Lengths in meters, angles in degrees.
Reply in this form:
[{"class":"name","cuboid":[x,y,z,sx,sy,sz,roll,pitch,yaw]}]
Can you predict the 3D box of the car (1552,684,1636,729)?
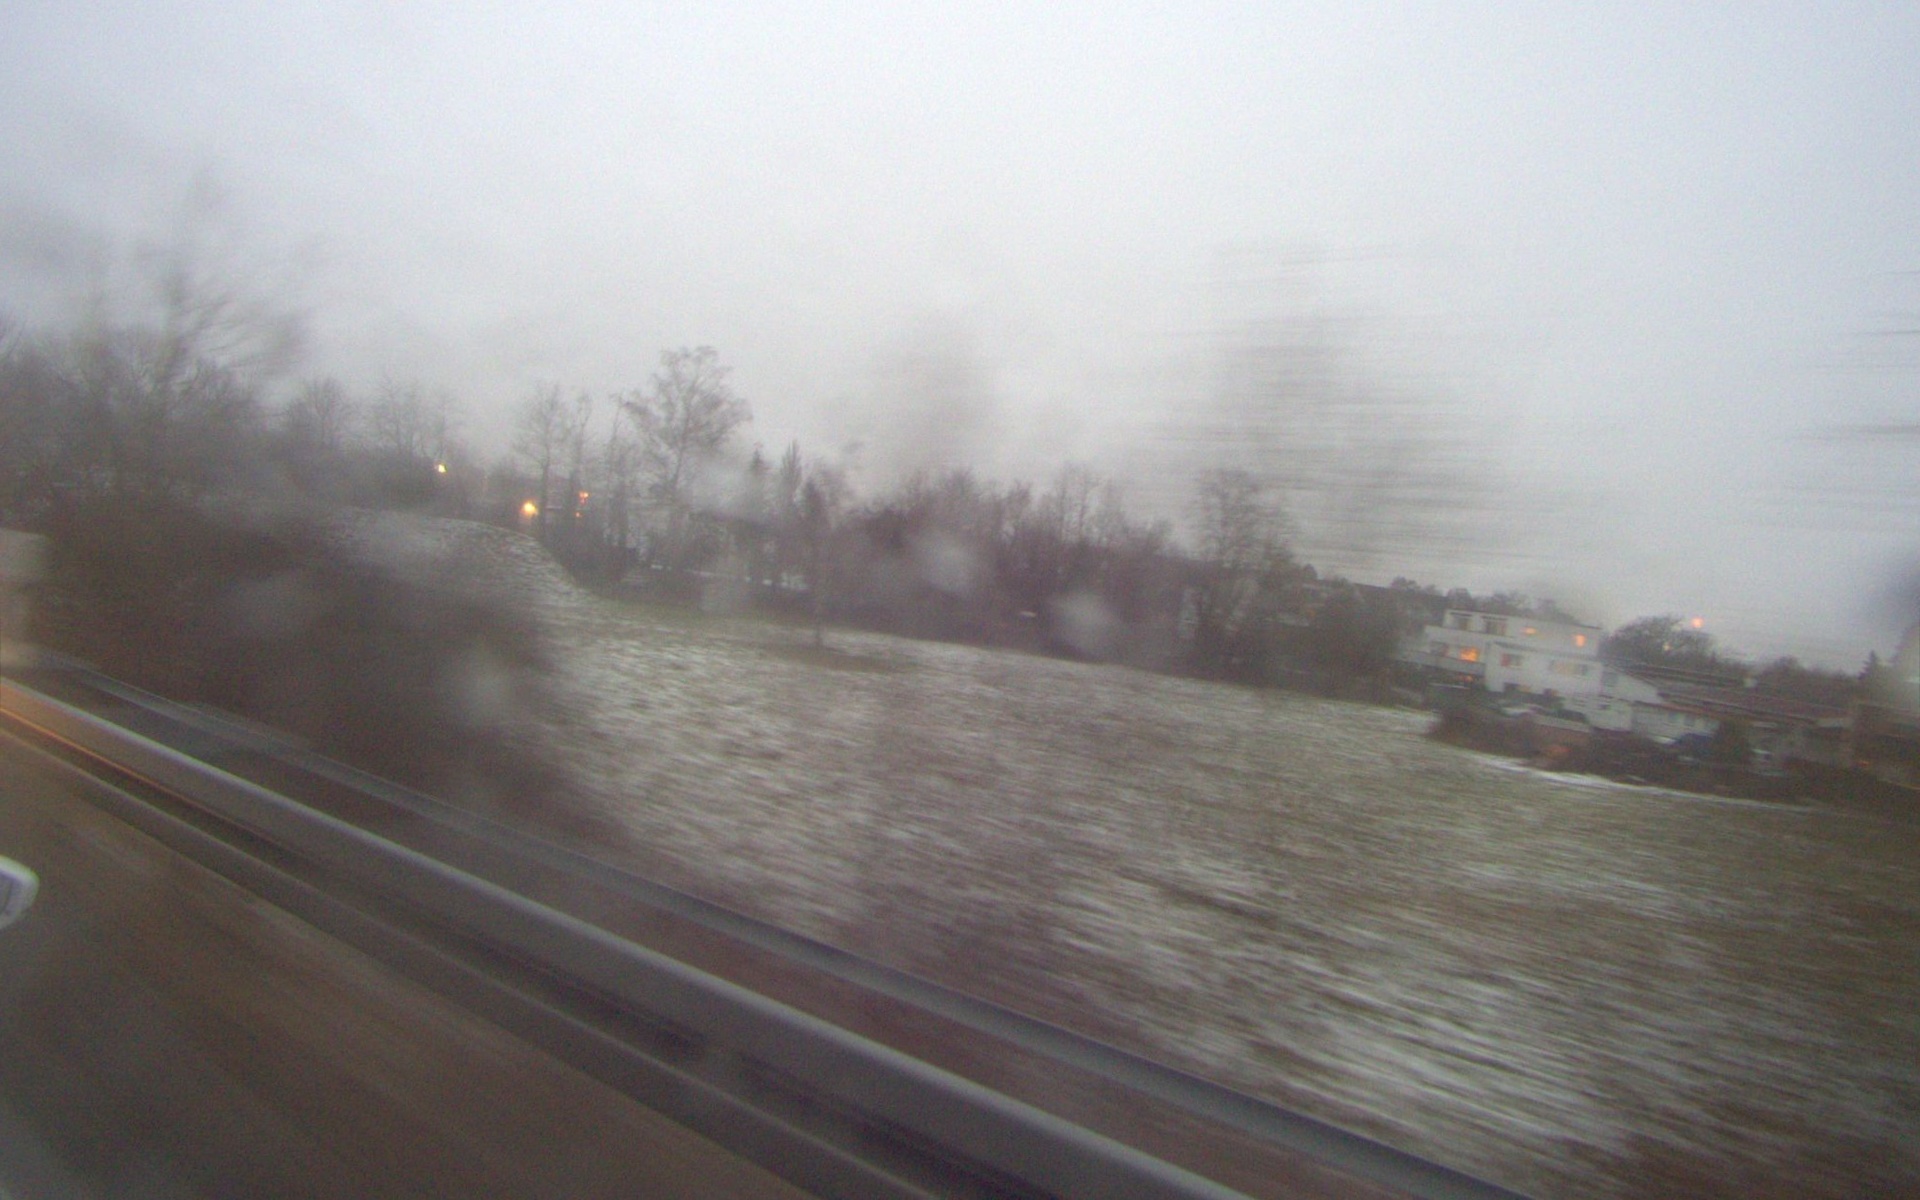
[{"class":"car","cuboid":[54.165,9.029,86.115,2.256,2.875,6.103,7,0,-10]}]
